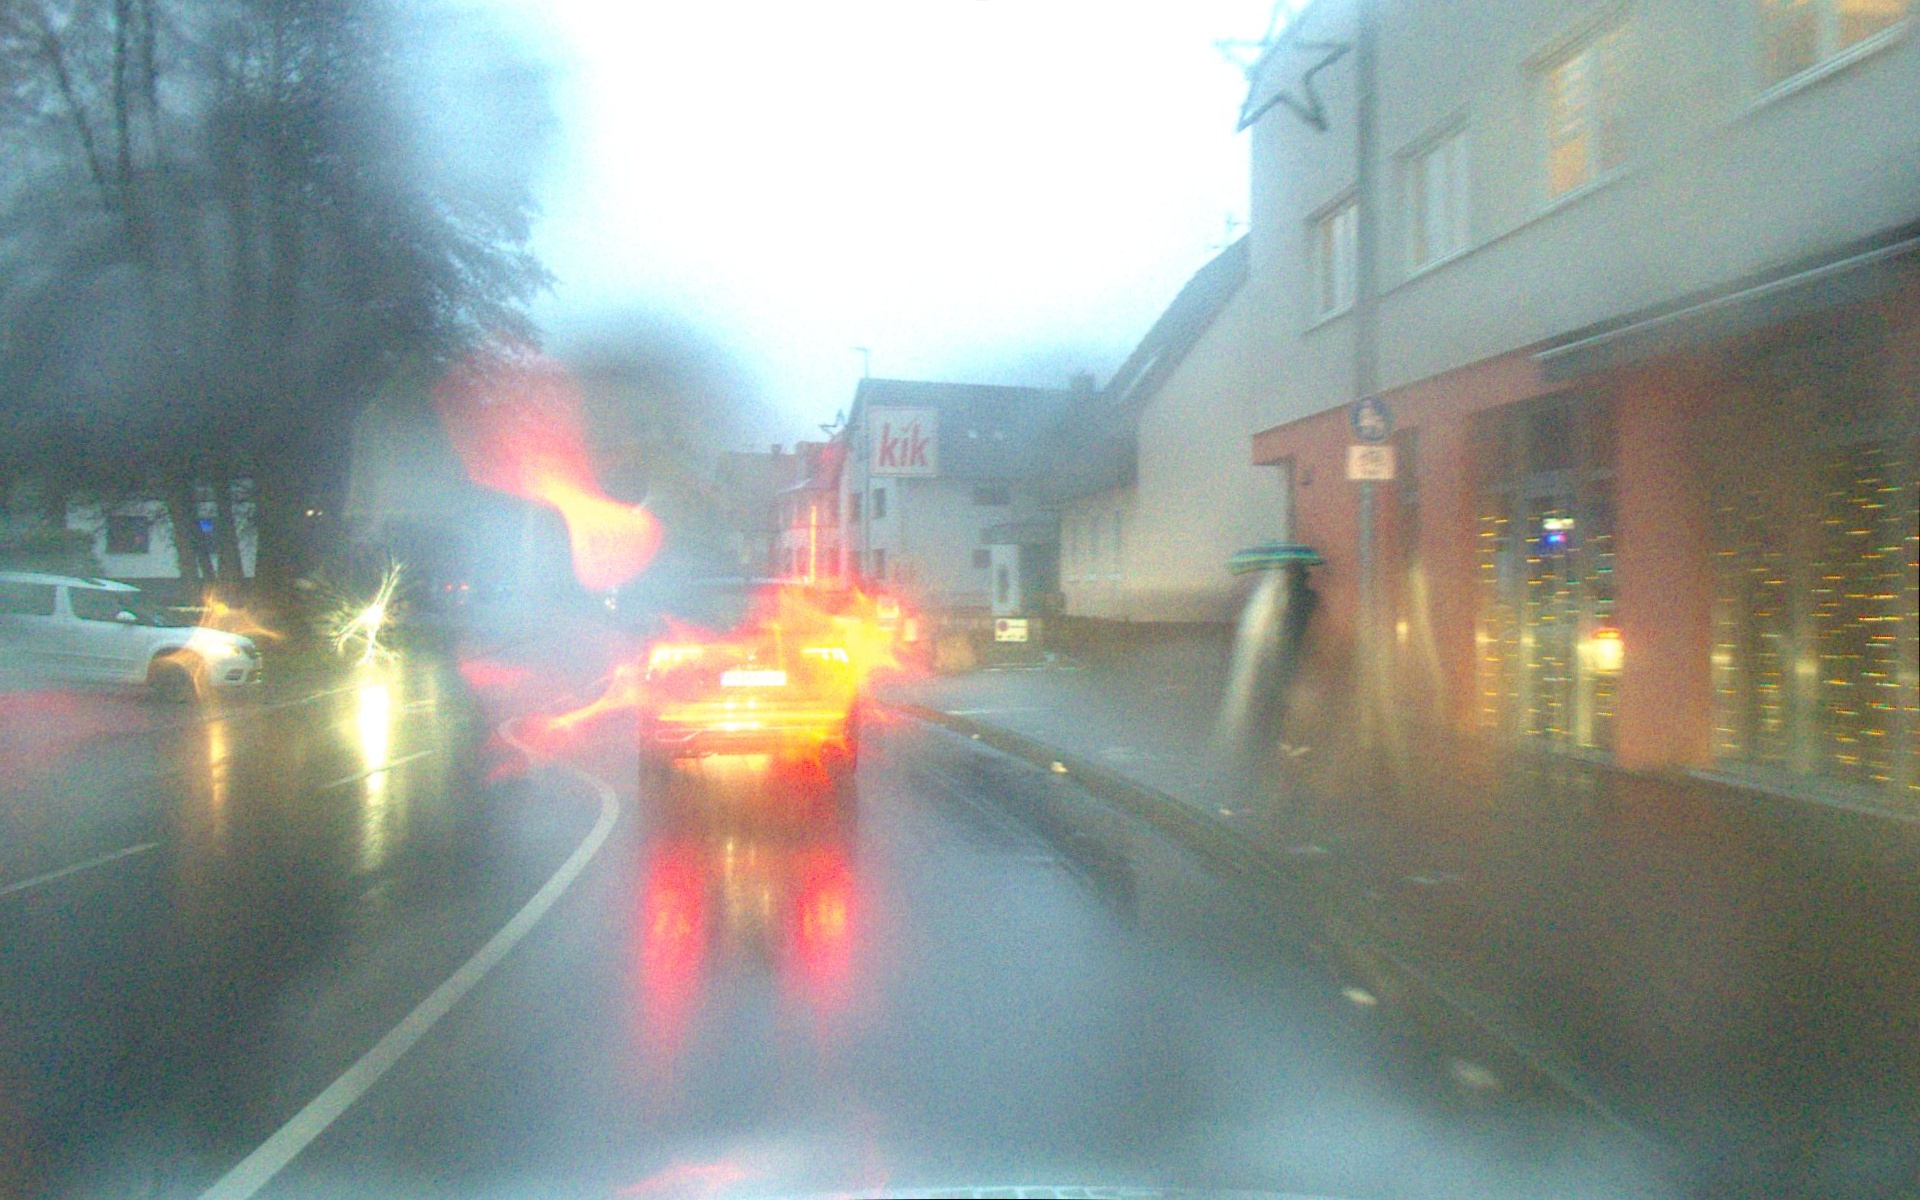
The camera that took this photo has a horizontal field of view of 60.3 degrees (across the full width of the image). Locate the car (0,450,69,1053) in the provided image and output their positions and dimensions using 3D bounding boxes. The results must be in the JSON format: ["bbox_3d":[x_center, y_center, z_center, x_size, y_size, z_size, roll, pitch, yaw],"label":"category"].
[{"bbox_3d":[-3.634,0.449,2.934,1.735,1.753,4.421,1,0,-1],"label":"car"}]

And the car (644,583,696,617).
[{"bbox_3d":[-12.265,-0.021,69.838,1.812,1.355,3.921,-1,1,-16],"label":"car"}]

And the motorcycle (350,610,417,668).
[{"bbox_3d":[-11.024,0.731,31.673,0.850,1.042,2.105,1,0,-10],"label":"motorcycle"}]

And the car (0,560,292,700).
[{"bbox_3d":[-11.831,0.394,23.328,4.156,1.729,1.892,3,-1,-15],"label":"car"}]

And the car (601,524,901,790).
[{"bbox_3d":[-2.080,0.425,15.007,2.269,1.972,5.003,0,0,-12],"label":"car"}]

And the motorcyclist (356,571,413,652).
[{"bbox_3d":[-11.000,0.220,31.625,0.850,1.511,0.907,1,0,-10],"label":"motorcyclist"}]

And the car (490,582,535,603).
[{"bbox_3d":[-44.430,-0.760,164.267,4.188,2.049,1.798,0,0,-23],"label":"car"}]

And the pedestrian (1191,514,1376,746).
[{"bbox_3d":[2.799,0.244,14.467,1.230,1.898,1.302,-1,0,-6],"label":"pedestrian"}]
